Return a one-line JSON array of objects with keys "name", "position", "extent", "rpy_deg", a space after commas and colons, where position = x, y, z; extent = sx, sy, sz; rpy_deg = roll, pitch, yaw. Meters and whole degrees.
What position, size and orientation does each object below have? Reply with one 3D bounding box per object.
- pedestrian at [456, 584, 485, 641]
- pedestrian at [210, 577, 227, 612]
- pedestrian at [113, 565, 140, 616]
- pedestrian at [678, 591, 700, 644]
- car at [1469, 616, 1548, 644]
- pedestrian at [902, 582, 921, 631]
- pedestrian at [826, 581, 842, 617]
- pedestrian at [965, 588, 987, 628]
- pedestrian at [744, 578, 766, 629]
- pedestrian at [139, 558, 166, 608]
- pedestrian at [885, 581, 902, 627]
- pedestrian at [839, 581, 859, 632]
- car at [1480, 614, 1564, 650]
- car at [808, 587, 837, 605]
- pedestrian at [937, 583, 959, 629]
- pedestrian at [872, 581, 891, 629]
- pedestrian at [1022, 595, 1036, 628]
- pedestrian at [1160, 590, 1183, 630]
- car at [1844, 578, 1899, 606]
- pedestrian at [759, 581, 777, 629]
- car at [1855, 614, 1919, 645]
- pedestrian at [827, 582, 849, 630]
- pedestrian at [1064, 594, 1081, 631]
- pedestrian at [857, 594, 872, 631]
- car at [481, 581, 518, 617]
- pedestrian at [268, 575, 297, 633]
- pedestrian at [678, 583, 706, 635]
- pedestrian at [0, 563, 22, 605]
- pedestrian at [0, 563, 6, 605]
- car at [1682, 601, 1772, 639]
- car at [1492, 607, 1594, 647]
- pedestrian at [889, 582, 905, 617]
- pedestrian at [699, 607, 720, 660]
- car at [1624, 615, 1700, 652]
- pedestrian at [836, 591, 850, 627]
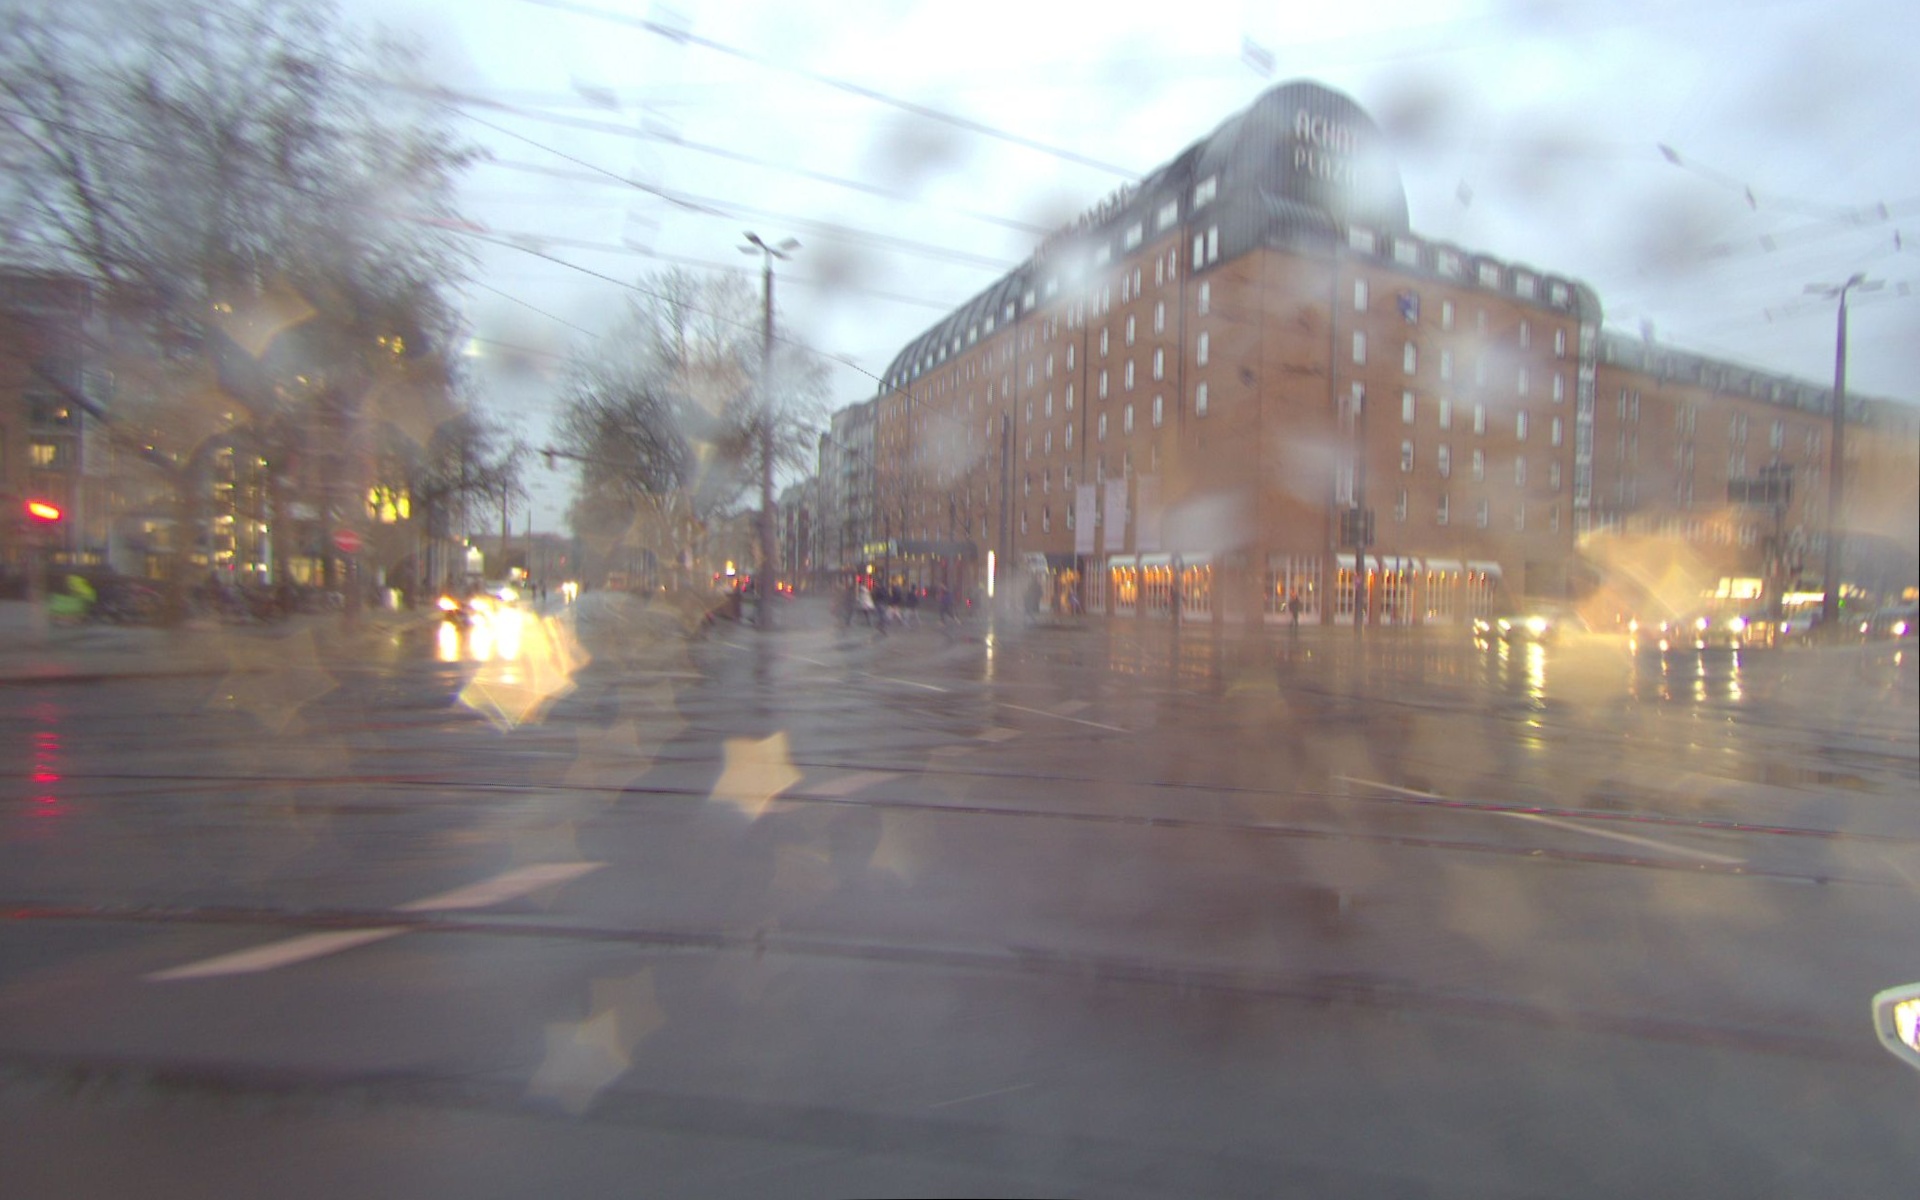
[{"name": "pedestrian", "position": [-17.886, 0.446, 36.706], "extent": [0.754, 2.040, 0.698], "rpy_deg": [1, 1, -43]}, {"name": "pedestrian", "position": [-37.026, -0.266, 50.144], "extent": [0.553, 1.706, 0.594], "rpy_deg": [1, 1, -24]}, {"name": "pedestrian", "position": [-28.301, -0.330, 34.113], "extent": [0.552, 1.706, 0.595], "rpy_deg": [2, 1, 37]}, {"name": "pedestrian", "position": [-10.586, 0.694, 39.229], "extent": [0.747, 2.040, 0.705], "rpy_deg": [1, 1, -17]}, {"name": "car", "position": [28.346, 1.525, 51.878], "extent": [4.178, 1.339, 1.604], "rpy_deg": [1, 1, -30]}, {"name": "pedestrian", "position": [-2.059, 0.265, 42.803], "extent": [0.744, 2.040, 0.800], "rpy_deg": [1, 1, -4]}, {"name": "pedestrian", "position": [-7.259, -0.077, 57.882], "extent": [0.709, 2.040, 0.743], "rpy_deg": [1, 1, -22]}, {"name": "pedestrian", "position": [0.788, 0.376, 49.158], "extent": [0.775, 1.925, 0.835], "rpy_deg": [1, 1, -22]}, {"name": "pedestrian", "position": [-8.377, 0.132, 41.045], "extent": [0.744, 2.040, 0.707], "rpy_deg": [1, 1, -4]}, {"name": "pedestrian", "position": [-27.614, -0.577, 34.359], "extent": [0.552, 1.706, 0.595], "rpy_deg": [2, 1, 38]}, {"name": "pedestrian", "position": [-3.002, 0.197, 45.318], "extent": [0.744, 2.040, 0.707], "rpy_deg": [1, 1, -4]}, {"name": "pedestrian", "position": [-4.571, 0.268, 41.560], "extent": [0.744, 2.040, 0.707], "rpy_deg": [1, 1, -4]}, {"name": "car", "position": [24.796, 1.402, 44.317], "extent": [3.552, 1.515, 1.575], "rpy_deg": [1, 1, -29]}, {"name": "car", "position": [-13.861, -0.426, 101.411], "extent": [2.077, 1.807, 3.686], "rpy_deg": [1, 0, -21]}, {"name": "pedestrian", "position": [-0.535, 0.267, 44.783], "extent": [0.747, 2.040, 0.704], "rpy_deg": [1, 1, -19]}, {"name": "pedestrian", "position": [-3.409, 0.202, 43.703], "extent": [0.744, 2.040, 0.707], "rpy_deg": [1, 1, -4]}, {"name": "pedestrian", "position": [3.313, 0.551, 48.313], "extent": [0.565, 1.558, 0.519], "rpy_deg": [1, 1, -11]}, {"name": "pedestrian", "position": [11.198, 0.529, 53.266], "extent": [0.921, 2.040, 0.756], "rpy_deg": [2, 1, 37]}, {"name": "car", "position": [71.093, -0.628, 78.352], "extent": [3.953, 2.041, 1.984], "rpy_deg": [1, 2, -30]}, {"name": "pedestrian", "position": [-8.002, 0.199, 41.942], "extent": [0.655, 1.985, 0.529], "rpy_deg": [1, 1, -7]}, {"name": "car", "position": [45.530, 1.451, 49.098], "extent": [3.505, 1.372, 1.673], "rpy_deg": [1, 2, -31]}, {"name": "pedestrian", "position": [-5.246, 0.243, 43.119], "extent": [0.698, 2.040, 0.754], "rpy_deg": [1, 1, -25]}, {"name": "pedestrian", "position": [4.844, 0.541, 43.139], "extent": [0.565, 1.558, 0.519], "rpy_deg": [1, 1, -11]}, {"name": "pedestrian", "position": [-4.062, 0.510, 42.789], "extent": [0.565, 1.558, 0.519], "rpy_deg": [1, 1, -11]}, {"name": "car", "position": [-28.608, -0.071, 62.295], "extent": [1.896, 2.166, 4.048], "rpy_deg": [1, 0, -27]}, {"name": "pedestrian", "position": [-24.198, 0.157, 35.873], "extent": [0.754, 2.040, 0.698], "rpy_deg": [1, 1, -43]}, {"name": "pedestrian", "position": [-10.783, 0.363, 40.390], "extent": [0.763, 2.040, 0.706], "rpy_deg": [2, 1, 29]}, {"name": "pedestrian", "position": [-40.100, -0.677, 42.441], "extent": [0.439, 1.774, 0.651], "rpy_deg": [1, 1, -19]}, {"name": "pedestrian", "position": [-40.500, -0.668, 42.129], "extent": [0.439, 1.774, 0.651], "rpy_deg": [1, 1, -19]}, {"name": "car", "position": [36.942, 0.967, 48.343], "extent": [4.650, 1.732, 1.820], "rpy_deg": [1, 1, -30]}, {"name": "car", "position": [23.462, 1.085, 40.413], "extent": [4.149, 1.515, 1.661], "rpy_deg": [1, 1, -29]}, {"name": "pedestrian", "position": [-3.695, -0.042, 59.217], "extent": [0.709, 2.040, 0.743], "rpy_deg": [1, 1, -22]}, {"name": "pedestrian", "position": [-9.857, 1.303, 39.491], "extent": [0.747, 2.040, 0.705], "rpy_deg": [1, 1, -17]}, {"name": "car", "position": [35.502, 1.662, 50.783], "extent": [3.811, 1.732, 1.675], "rpy_deg": [1, 1, -30]}, {"name": "pedestrian", "position": [-5.113, 0.398, 43.972], "extent": [0.565, 1.558, 0.519], "rpy_deg": [1, 1, -11]}]
